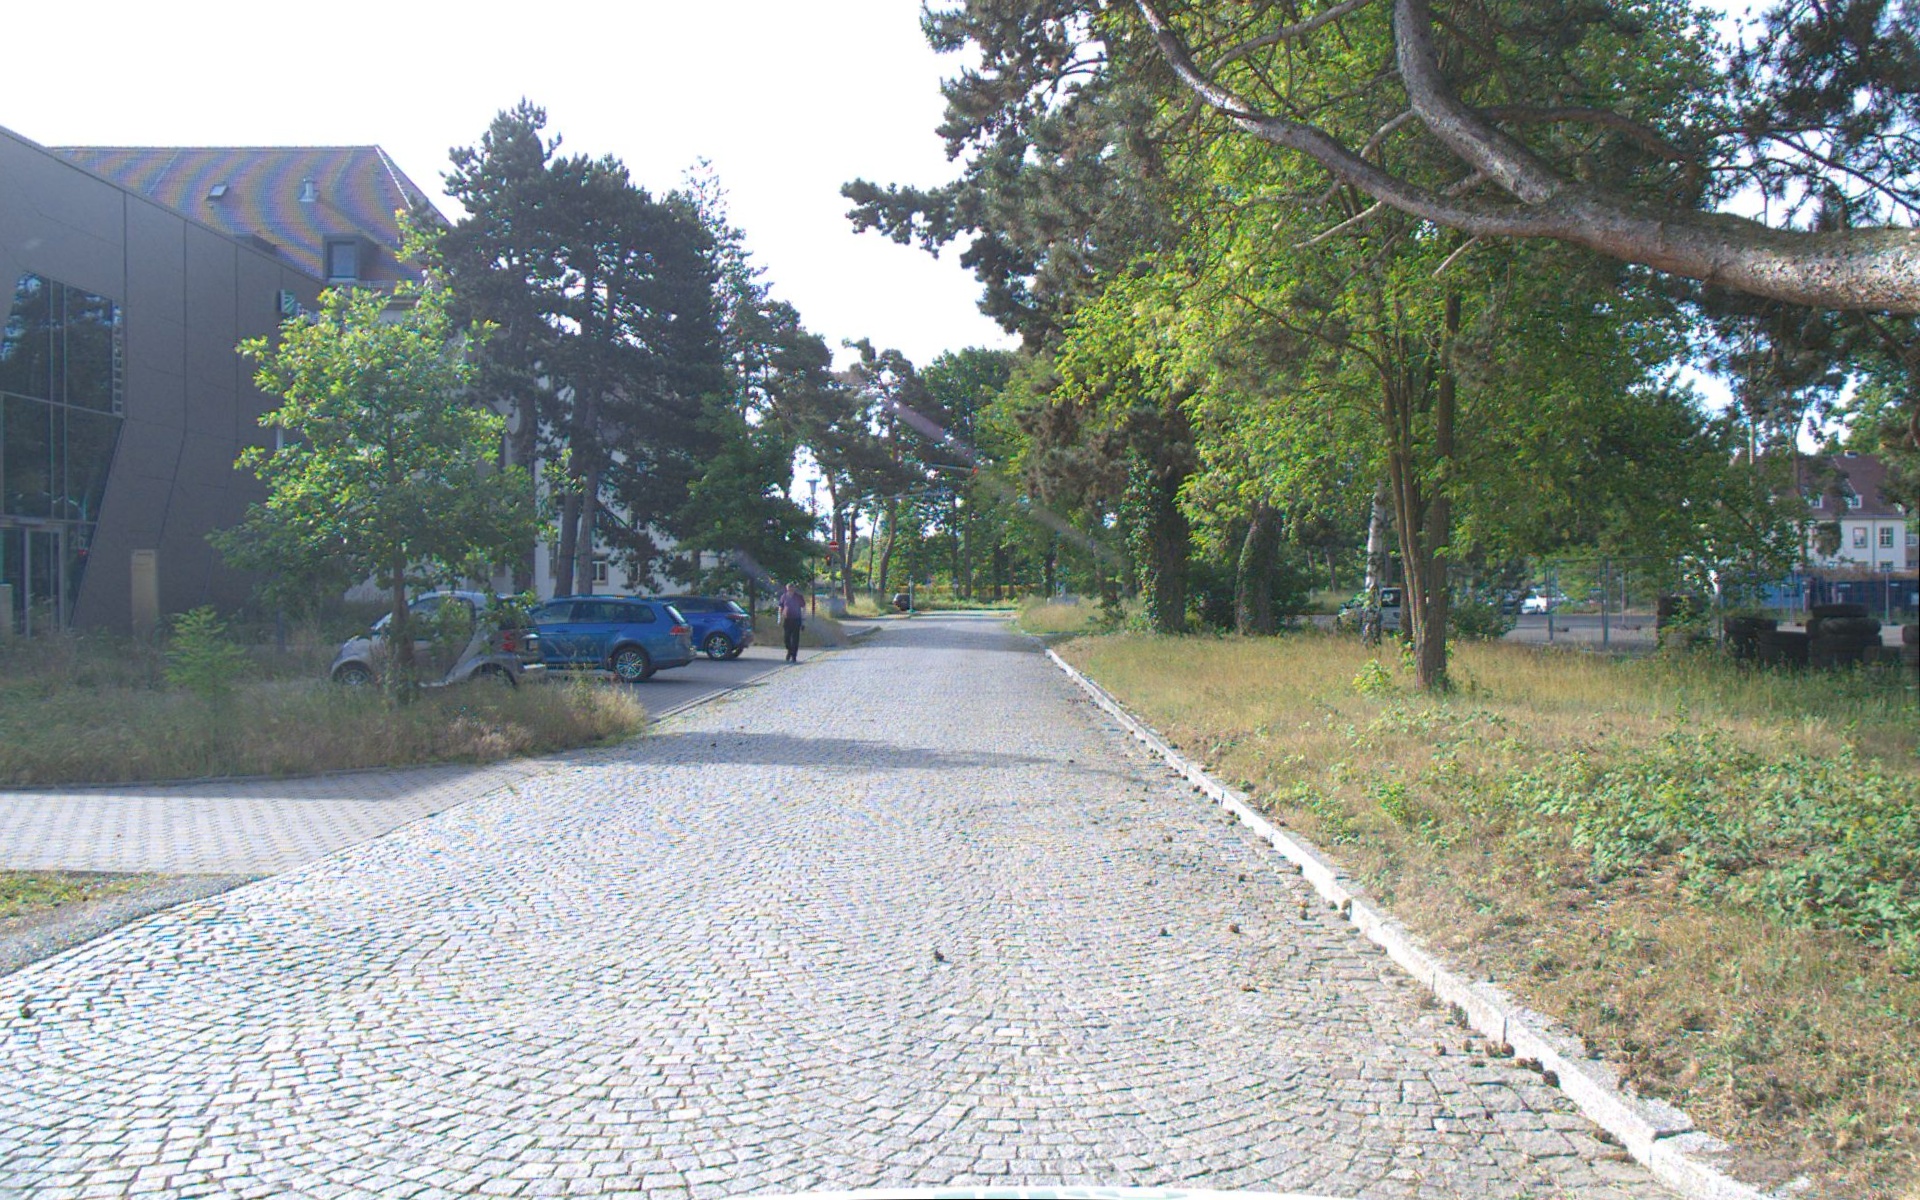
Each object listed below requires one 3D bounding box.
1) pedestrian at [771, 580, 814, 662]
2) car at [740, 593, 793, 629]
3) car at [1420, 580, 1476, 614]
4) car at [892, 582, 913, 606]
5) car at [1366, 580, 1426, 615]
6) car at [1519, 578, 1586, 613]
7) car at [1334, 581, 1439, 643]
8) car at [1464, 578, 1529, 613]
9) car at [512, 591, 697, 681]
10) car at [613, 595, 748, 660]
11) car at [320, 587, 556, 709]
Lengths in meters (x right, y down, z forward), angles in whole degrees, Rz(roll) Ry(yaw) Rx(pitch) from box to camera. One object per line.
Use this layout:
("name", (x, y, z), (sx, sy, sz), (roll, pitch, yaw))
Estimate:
("pedestrian", (-3.926, 0.484, 38.816), (0.937, 1.876, 0.955), (0, 0, -3))
("car", (-9.106, 0.509, 78.126), (1.952, 1.646, 4.000), (-1, 0, 1))
("car", (24.069, -0.164, 81.700), (1.783, 1.646, 4.001), (-1, 0, 3))
("car", (-5.013, -0.507, 145.303), (1.662, 2.049, 4.000), (0, 0, 1))
("car", (21.425, -0.146, 81.457), (1.952, 1.646, 4.000), (-1, 0, 1))
("car", (29.430, -0.234, 82.261), (1.952, 1.646, 4.000), (-1, 0, 1))
("car", (11.308, 0.297, 44.089), (1.847, 1.568, 4.001), (0, 0, 1))
("car", (26.552, -0.222, 81.972), (1.952, 1.646, 4.000), (-1, 0, 1))
("car", (-6.332, 0.626, 29.708), (3.023, 1.482, 1.491), (2, 0, -4))
("car", (-6.578, 0.637, 39.103), (3.024, 1.475, 1.490), (0, 0, -6))
("car", (-7.022, 0.627, 22.389), (2.702, 1.576, 1.426), (0, 0, 4))
